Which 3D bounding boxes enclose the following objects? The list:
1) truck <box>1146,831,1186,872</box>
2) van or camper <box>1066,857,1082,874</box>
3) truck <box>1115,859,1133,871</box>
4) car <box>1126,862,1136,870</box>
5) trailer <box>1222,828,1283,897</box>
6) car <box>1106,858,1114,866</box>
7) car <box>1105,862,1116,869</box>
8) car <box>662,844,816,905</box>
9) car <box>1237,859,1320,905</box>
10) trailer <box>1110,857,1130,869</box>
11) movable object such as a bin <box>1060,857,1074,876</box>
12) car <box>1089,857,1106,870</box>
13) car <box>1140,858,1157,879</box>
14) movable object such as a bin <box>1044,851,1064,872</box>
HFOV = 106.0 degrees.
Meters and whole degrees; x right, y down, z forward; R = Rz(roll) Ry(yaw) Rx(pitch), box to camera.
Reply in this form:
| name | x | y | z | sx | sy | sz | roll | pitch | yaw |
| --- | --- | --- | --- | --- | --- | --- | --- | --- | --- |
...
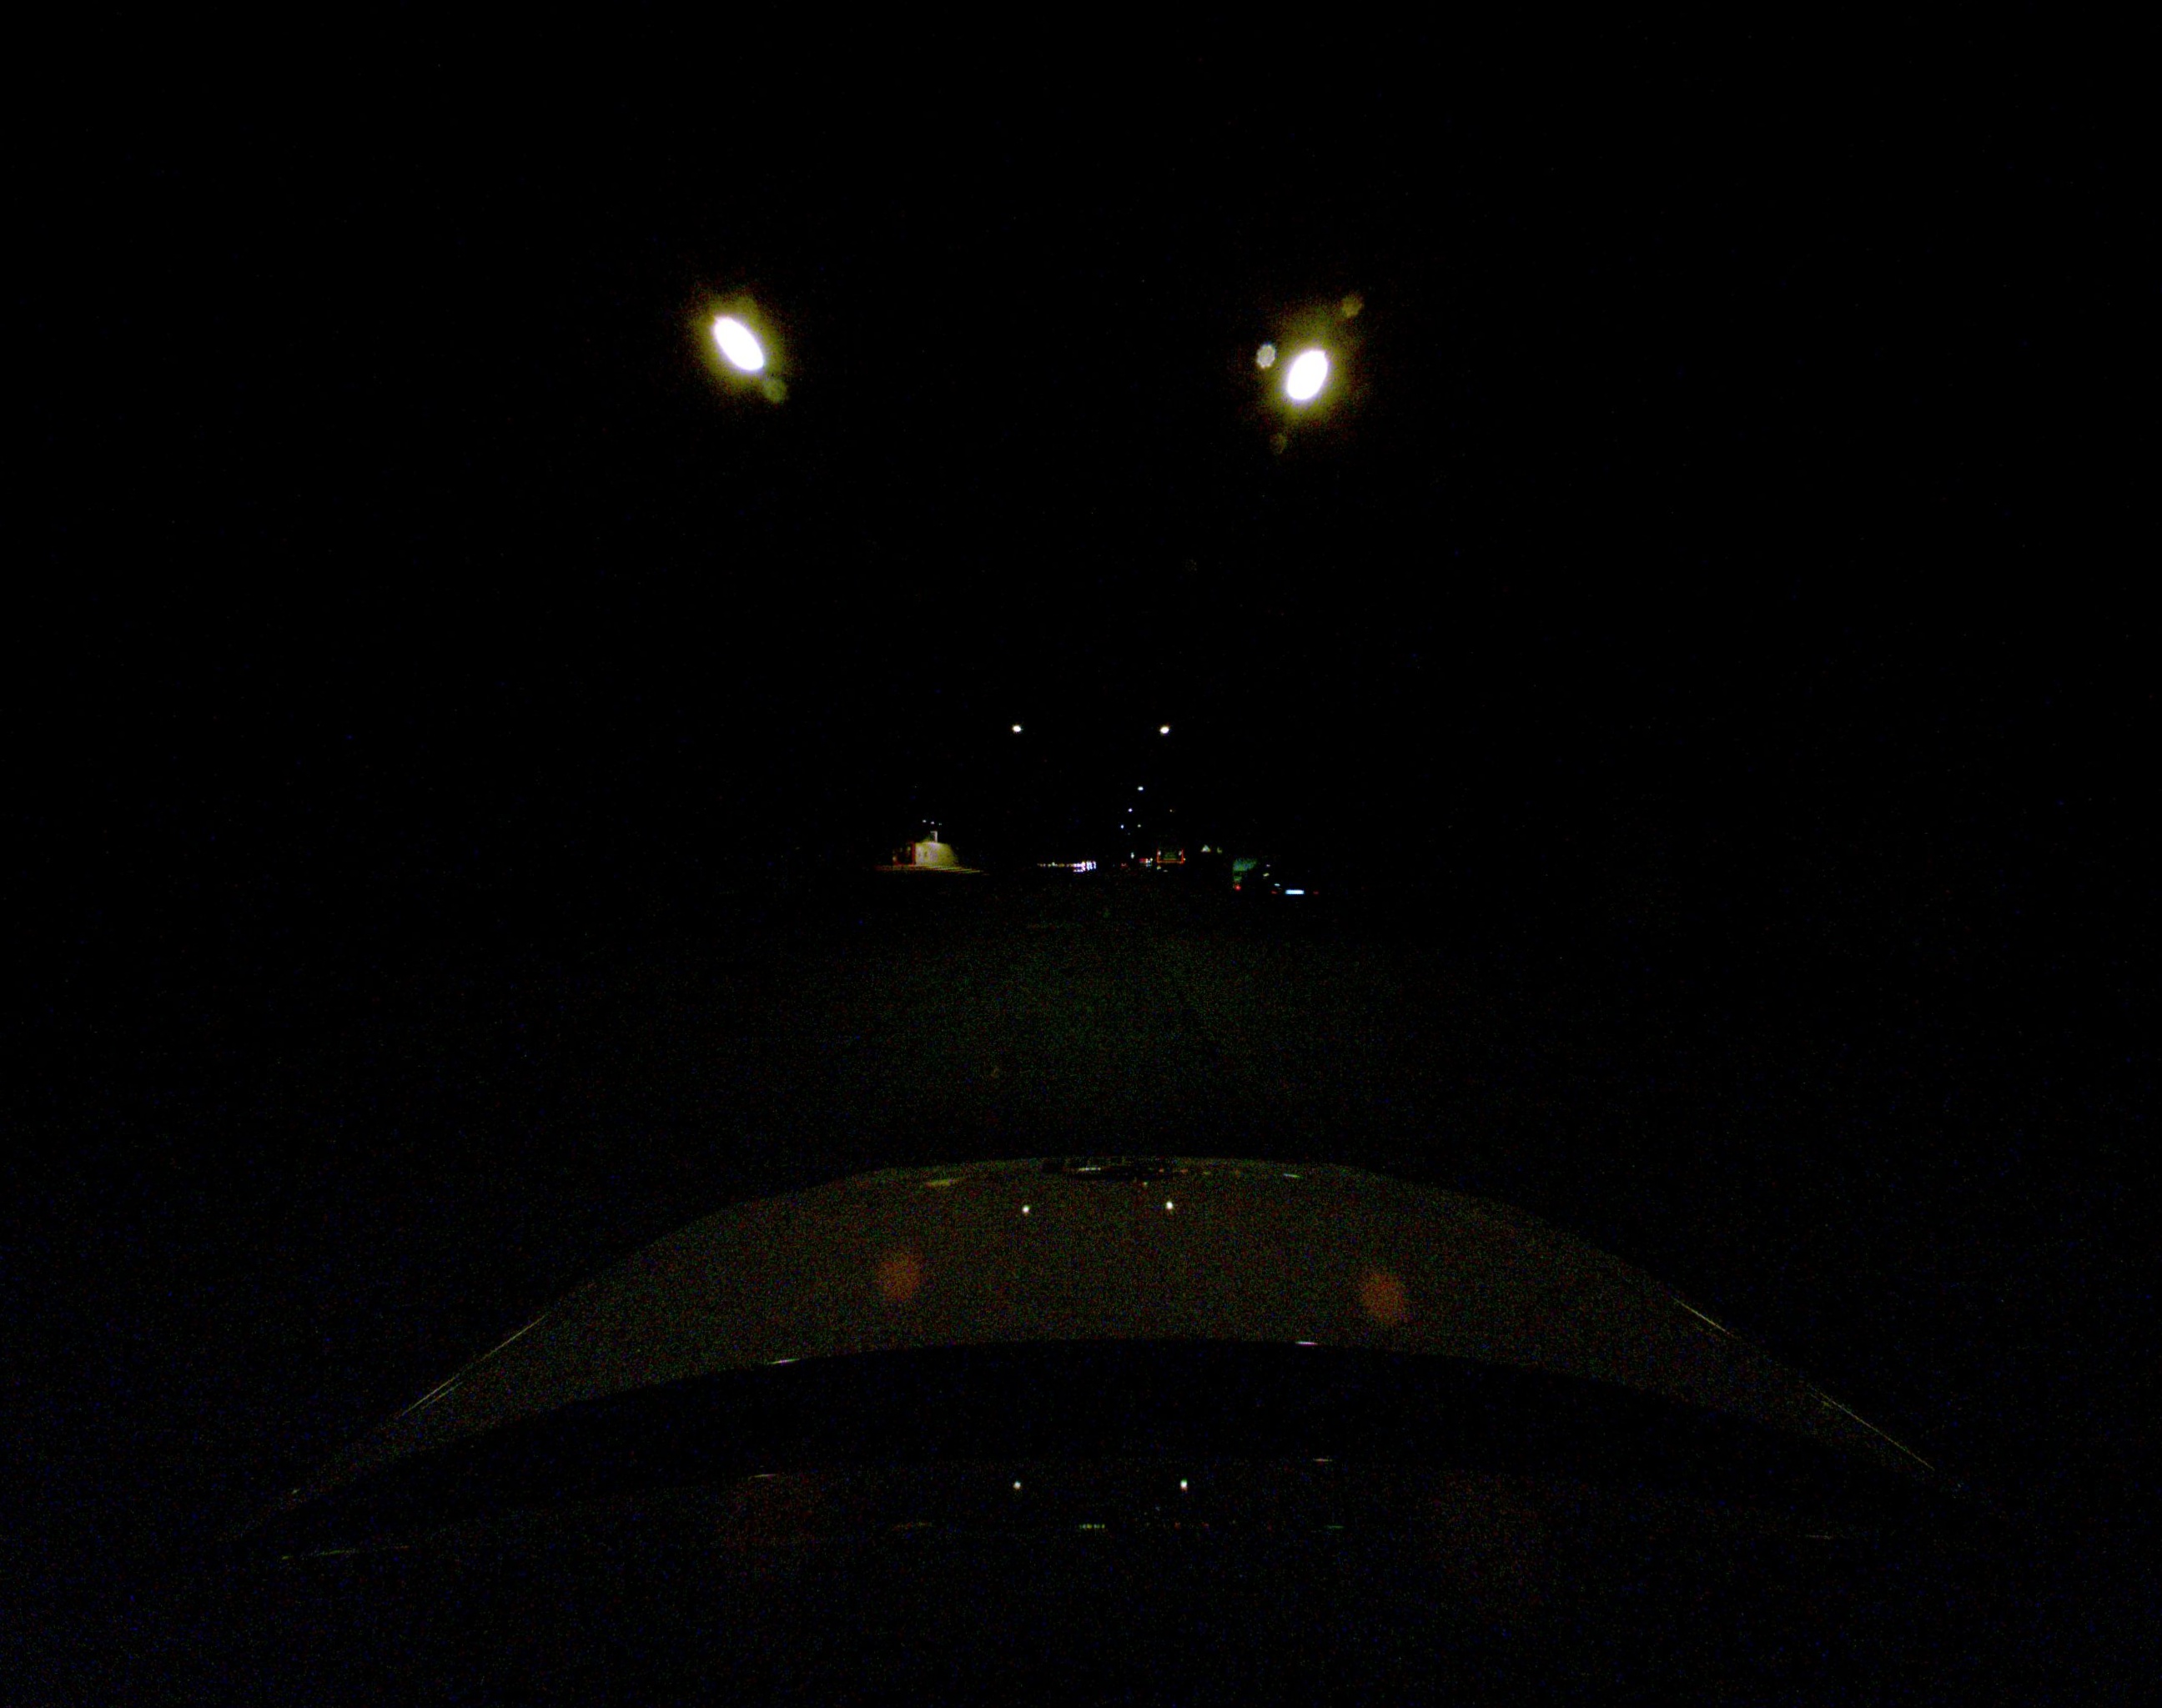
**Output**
| name | x | y | z | sx | sy | sz | roll | pitch | yaw |
| --- | --- | --- | --- | --- | --- | --- | --- | --- | --- |
| truck | 8.419 | -0.185 | 81.913 | 3.311 | 3.868 | 9.331 | 0 | -1 | 2 |
| van or camper | -1.357 | 2.215 | 156.455 | 2.508 | 3.094 | 7.451 | -2 | -1 | 3 |
| truck | 12.743 | 3.321 | 239.775 | 1.975 | 3.404 | 9.031 | 0 | 0 | 26 |
| car | 12.490 | 3.041 | 202.493 | 1.707 | 1.821 | 4.017 | 0 | -2 | 17 |
| trailer | 6.985 | 0.324 | 33.492 | 1.984 | 2.651 | 4.005 | 0 | 0 | 5 |
| car | 6.201 | 1.781 | 174.376 | 1.714 | 1.661 | 4.002 | 0 | -2 | 3 |
| car | 8.254 | 3.249 | 227.130 | 1.978 | 1.700 | 4.224 | 0 | -2 | 17 |
| car | -11.662 | 0.676 | 28.015 | 4.416 | 1.972 | 2.001 | 0 | 0 | 1 |
| car | 6.557 | 0.870 | 27.559 | 1.721 | 1.386 | 4.676 | 0 | 0 | 0 |
| trailer | 7.671 | 1.722 | 159.477 | 1.567 | 2.161 | 5.177 | -2 | -2 | -25 |
| movable object such as a bin | -2.067 | 1.817 | 118.965 | 1.568 | 2.734 | 3.695 | -3 | 0 | -5 |
| car | 4.355 | 2.451 | 211.098 | 2.500 | 3.171 | 7.167 | -3 | -1 | 16 |
| car | 8.251 | 1.748 | 99.504 | 2.099 | 2.516 | 6.379 | 0 | 0 | 5 |
| movable object such as a bin | -3.316 | 0.938 | 99.160 | 1.553 | 2.467 | 2.821 | -1 | -1 | -19 |
